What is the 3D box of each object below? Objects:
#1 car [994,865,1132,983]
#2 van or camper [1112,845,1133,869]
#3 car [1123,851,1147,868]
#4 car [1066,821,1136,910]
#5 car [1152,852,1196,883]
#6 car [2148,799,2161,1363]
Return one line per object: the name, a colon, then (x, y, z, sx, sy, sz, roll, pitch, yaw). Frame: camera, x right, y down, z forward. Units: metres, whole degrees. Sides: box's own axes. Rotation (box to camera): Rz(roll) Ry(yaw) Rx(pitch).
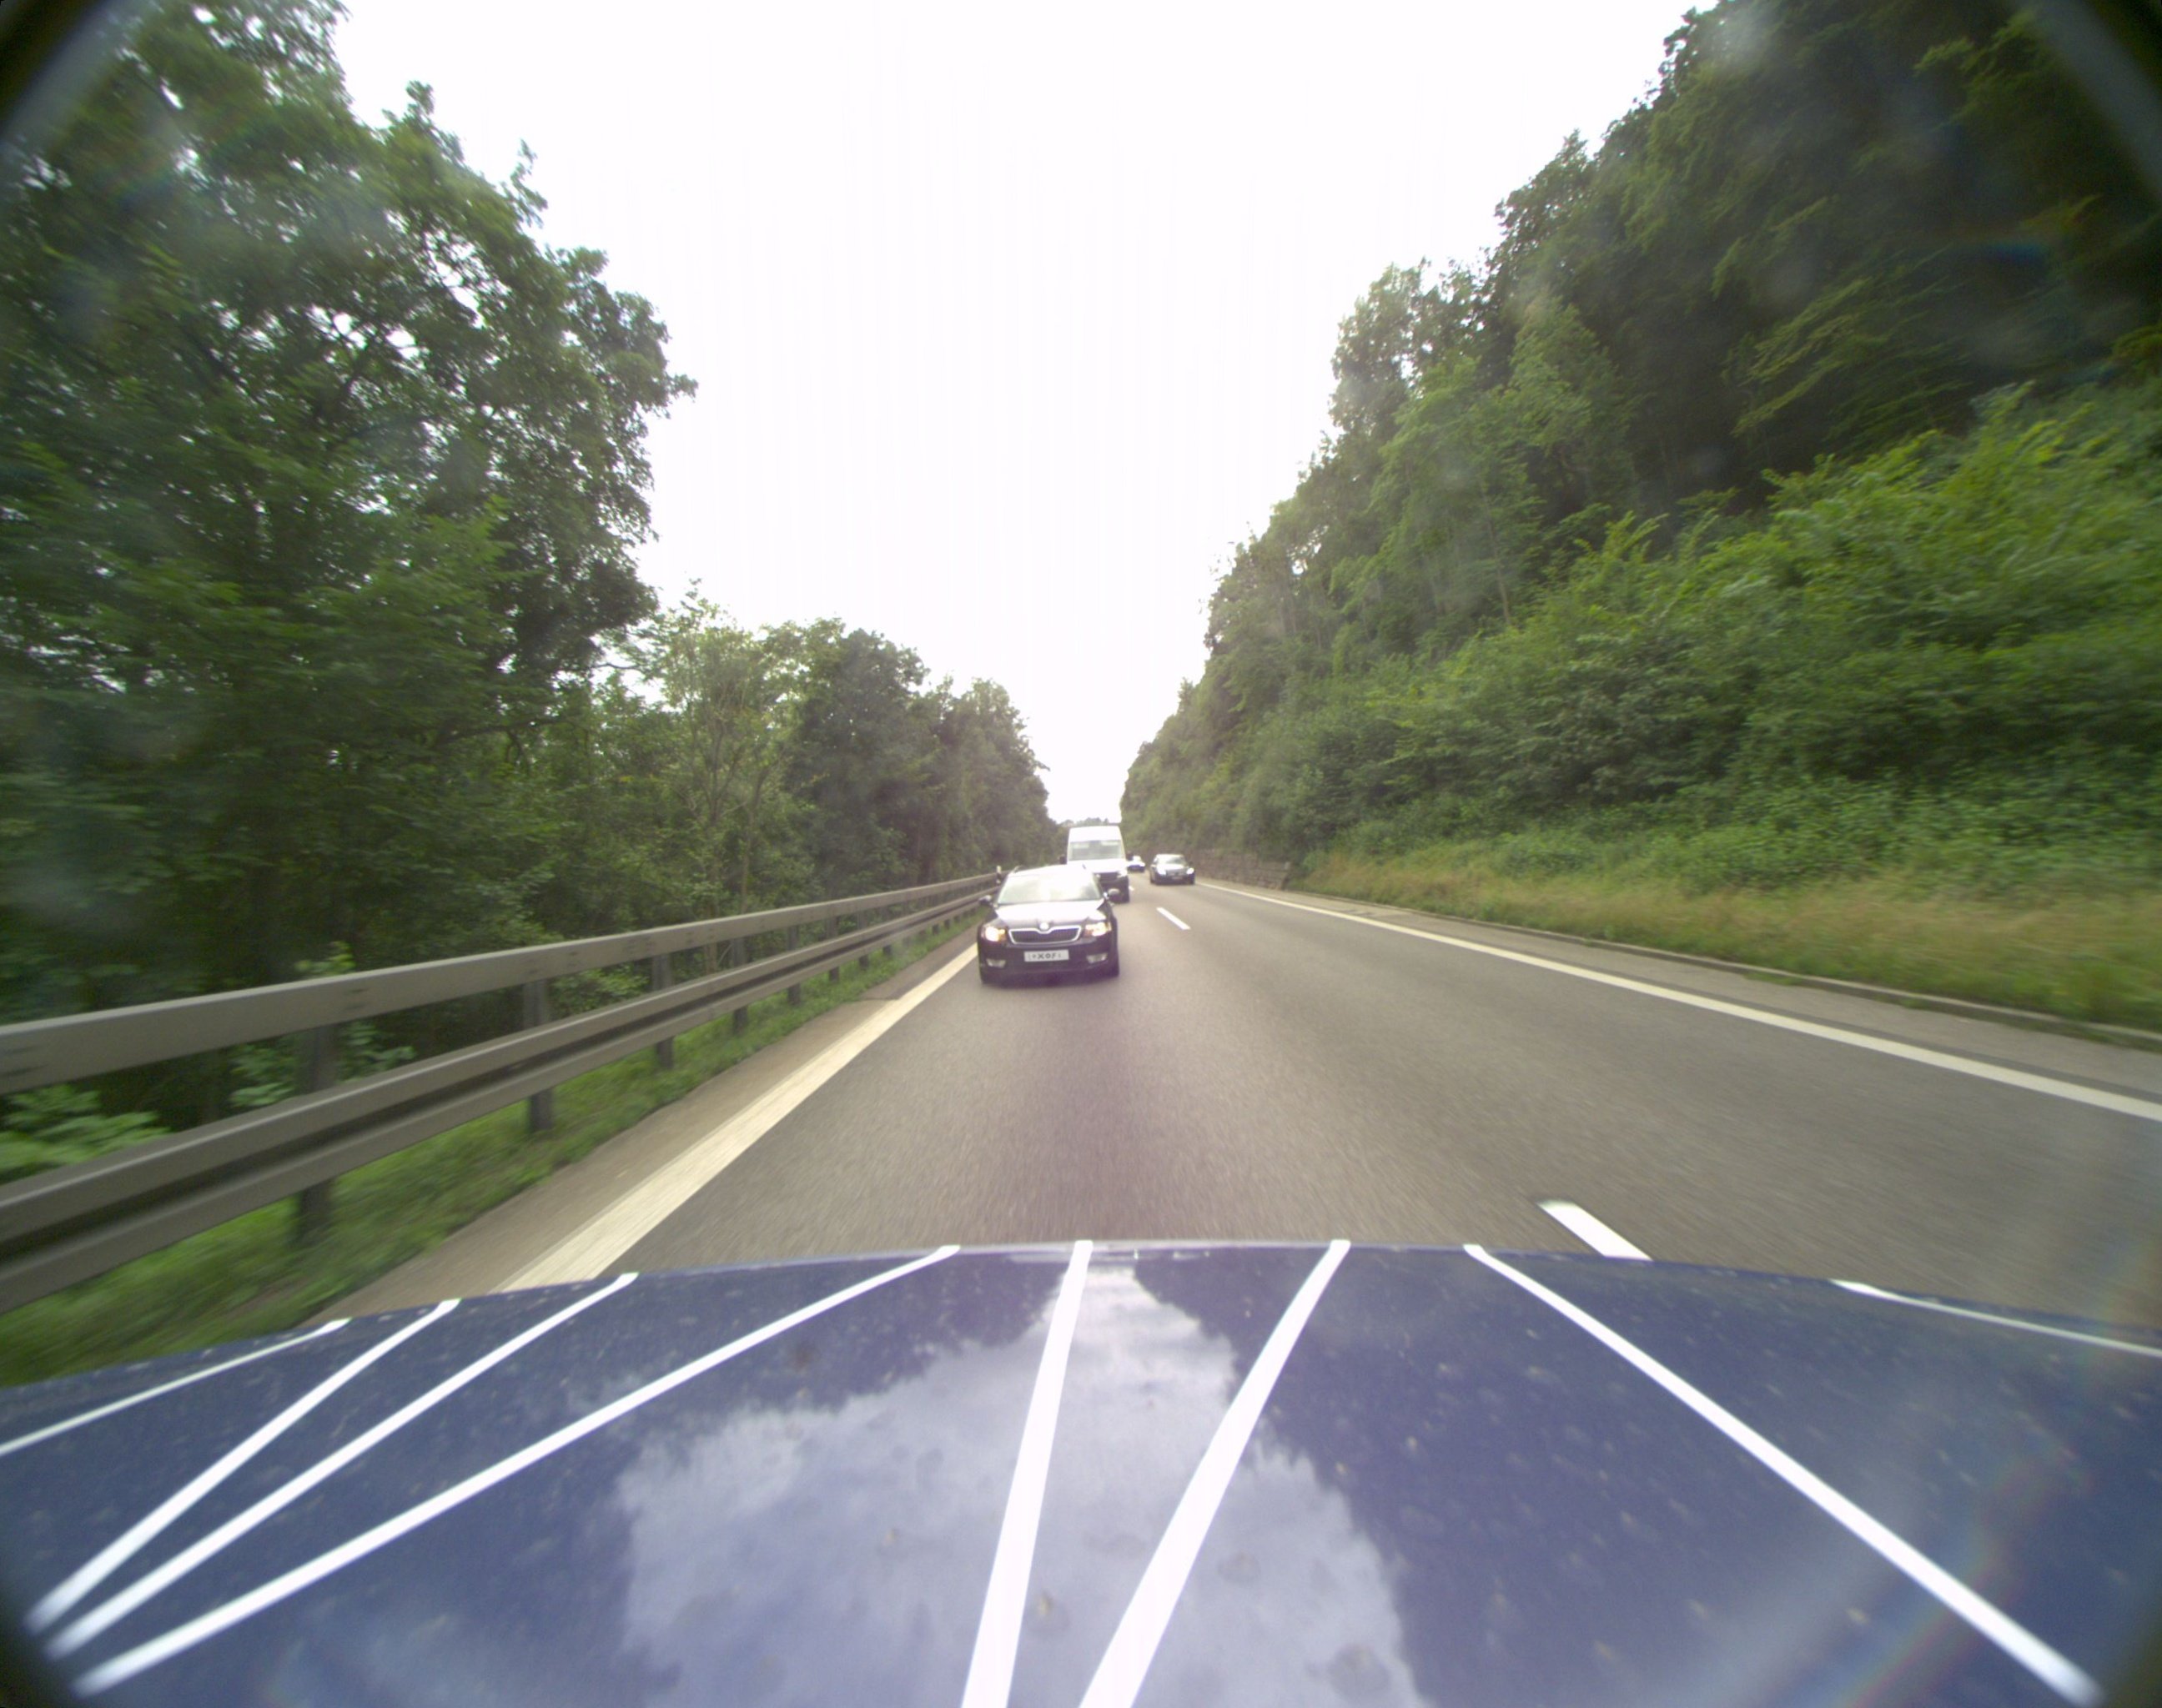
car: (-0.290, 0.962, 12.293, 1.751, 1.409, 4.400, -3, 0, -1)
van or camper: (4.896, 0.382, 90.502, 2.271, 2.719, 7.024, 0, 0, 1)
car: (4.775, 0.491, 67.761, 1.840, 1.460, 4.555, 0, 0, 0)
car: (0.571, 0.315, 24.439, 2.001, 2.545, 5.127, 0, 0, 0)
car: (4.565, 0.649, 37.925, 1.765, 1.455, 5.123, 0, 0, 2)
car: (4.092, 0.698, 0.158, 1.638, 1.716, 4.344, -1, 0, 0)
